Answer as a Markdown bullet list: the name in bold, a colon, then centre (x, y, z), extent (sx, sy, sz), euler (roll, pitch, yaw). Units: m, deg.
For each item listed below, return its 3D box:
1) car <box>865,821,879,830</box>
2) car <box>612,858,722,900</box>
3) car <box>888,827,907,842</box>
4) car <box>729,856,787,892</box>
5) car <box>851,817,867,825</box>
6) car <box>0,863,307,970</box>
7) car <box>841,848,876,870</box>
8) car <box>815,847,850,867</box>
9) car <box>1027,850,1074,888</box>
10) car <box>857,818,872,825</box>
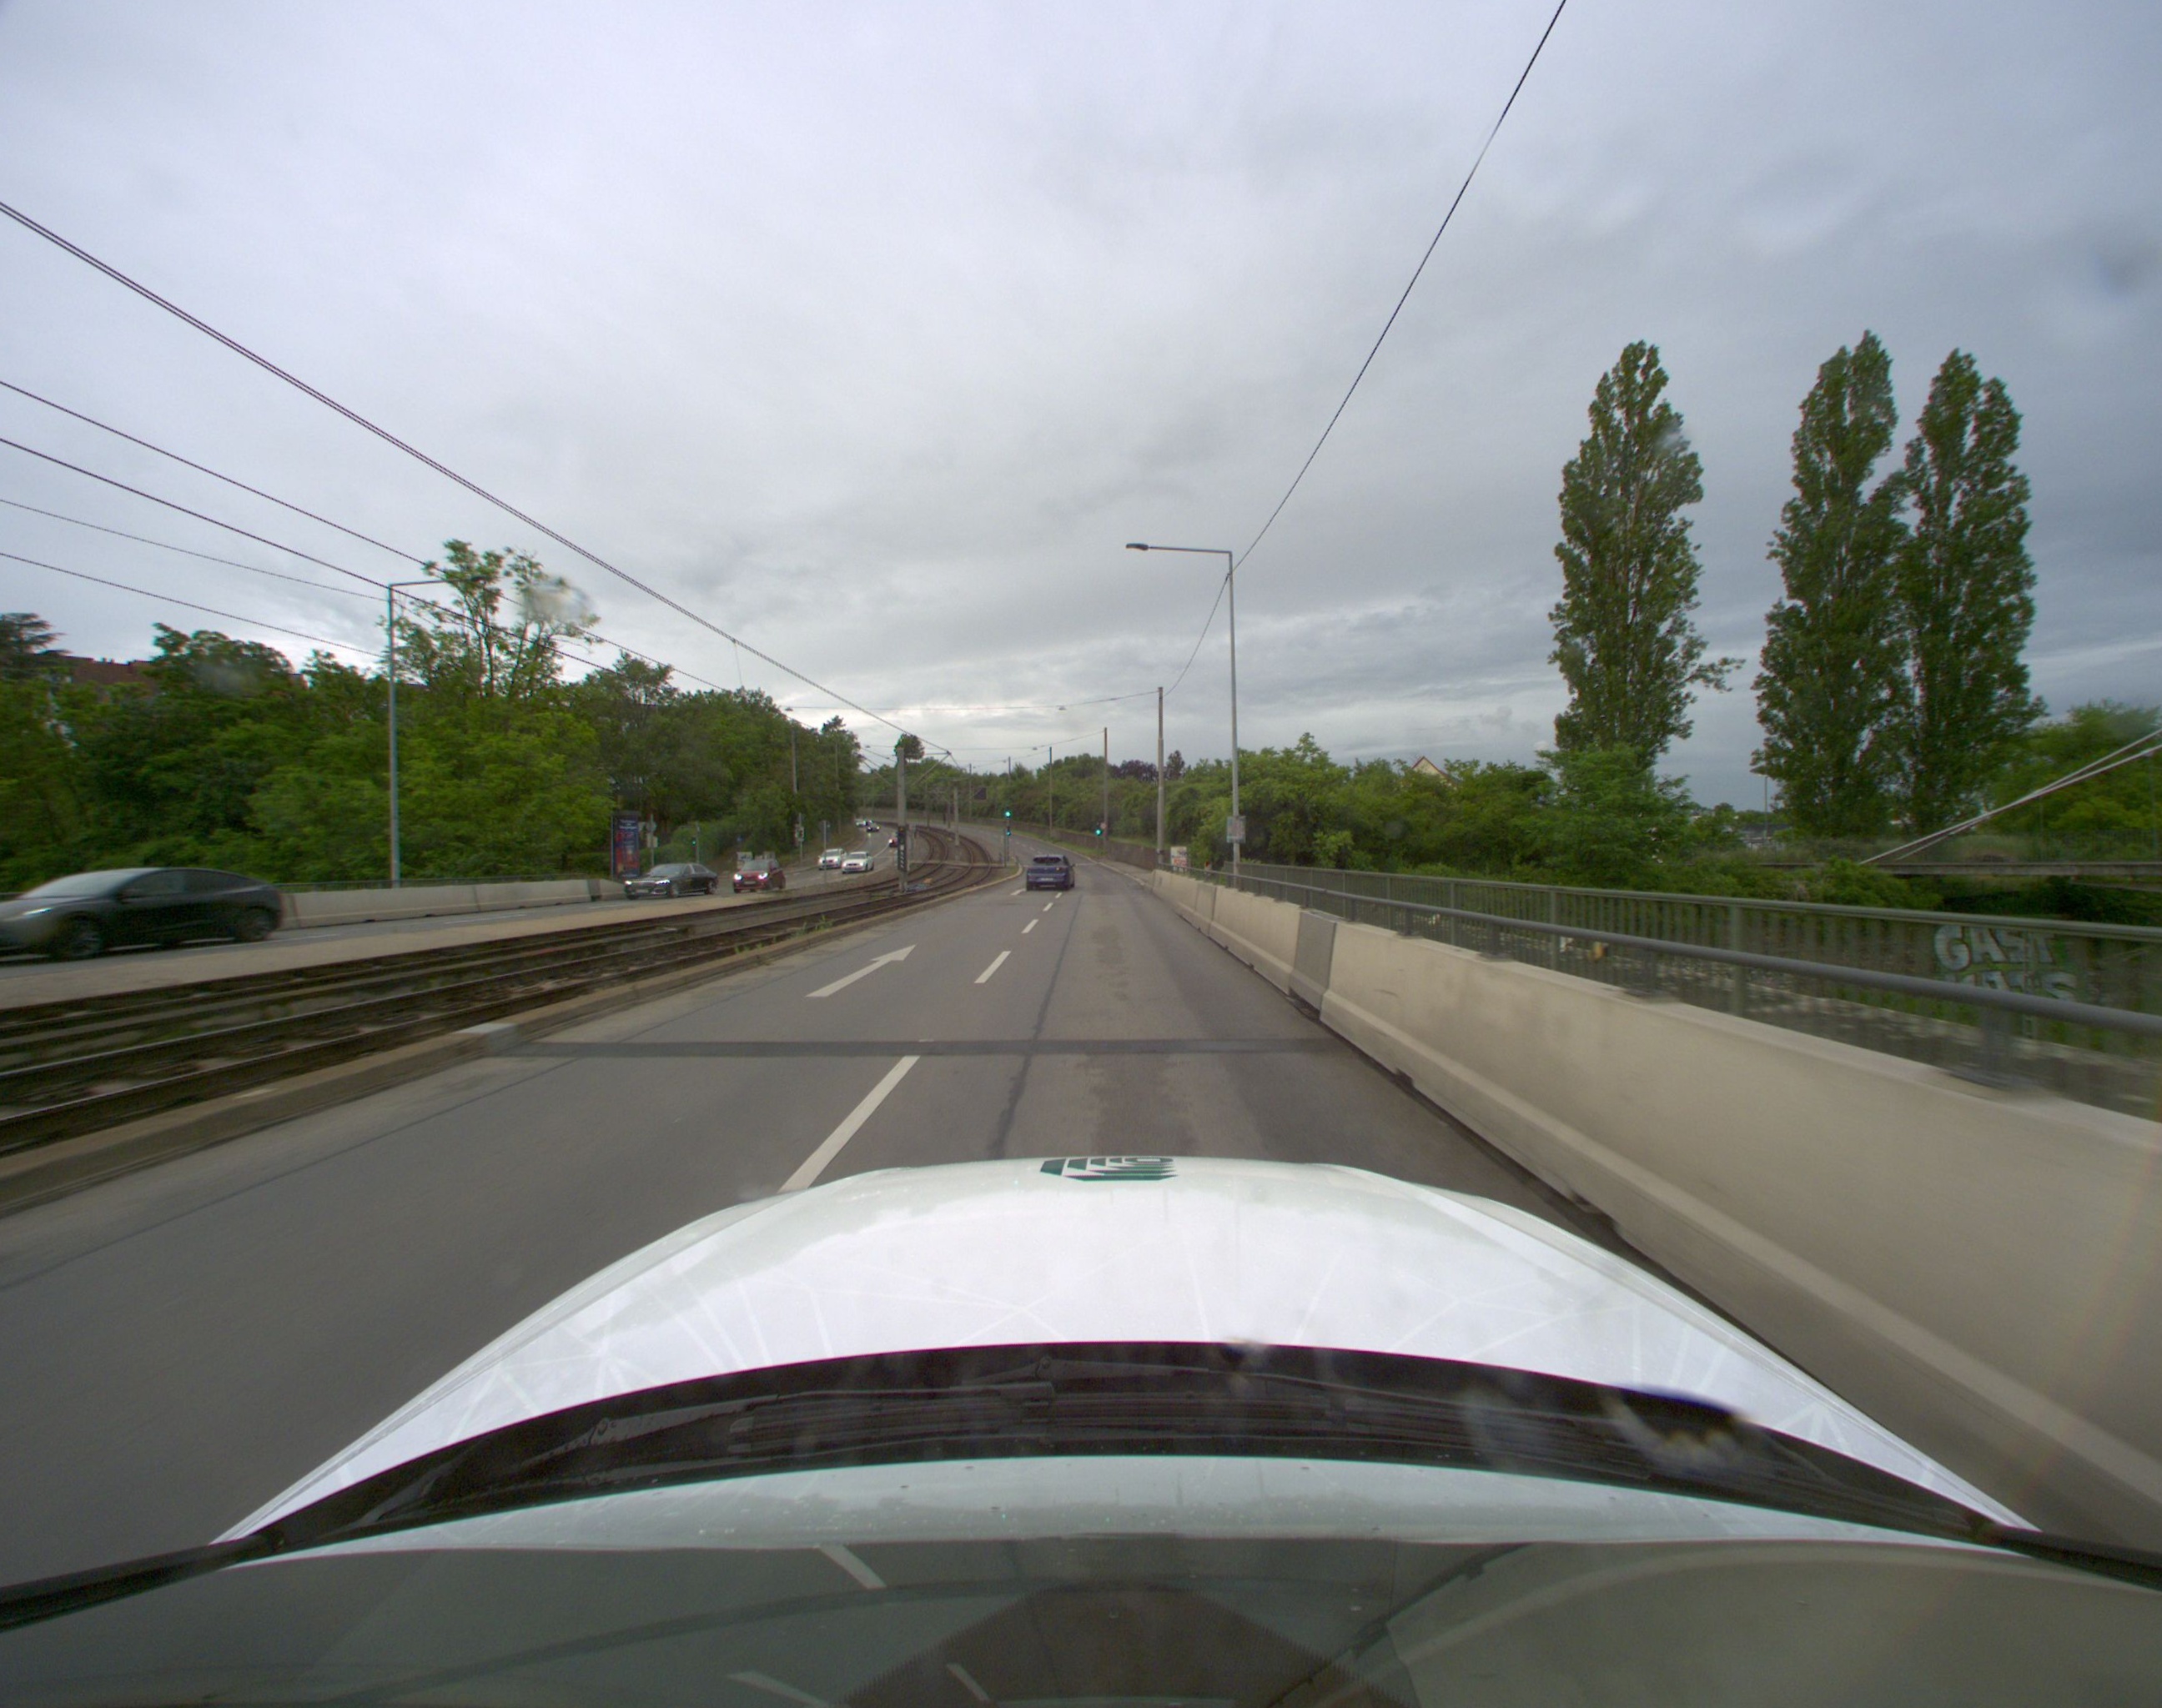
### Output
- **car**: centre (-34.930, -4.835, 136.040), extent (1.722, 1.458, 4.247), euler (-3, 3, -20)
- **car**: centre (-17.862, 1.037, 35.479), extent (1.962, 1.597, 5.185), euler (-2, -1, 1)
- **car**: centre (-21.290, -2.267, 94.691), extent (1.847, 1.597, 4.718), euler (-2, 3, -9)
- **car**: centre (-15.219, 0.899, 38.513), extent (1.597, 1.493, 3.015), euler (-2, 2, -2)
- **car**: centre (-42.529, -6.325, 155.842), extent (1.830, 1.379, 4.664), euler (-4, 5, -28)
- **car**: centre (-18.027, 1.066, 15.521), extent (1.889, 1.597, 4.734), euler (-2, 1, 1)
- **car**: centre (-16.146, 0.386, 59.255), extent (1.728, 1.437, 4.480), euler (-2, 0, -7)
- **car**: centre (-19.977, 0.260, 65.560), extent (1.819, 1.515, 4.519), euler (-1, 0, -6)
- **car**: centre (-1.227, 0.602, 34.180), extent (1.757, 1.501, 4.000), euler (0, 0, 0)
- **car**: centre (-43.511, -6.529, 163.647), extent (1.644, 1.384, 3.856), euler (-5, 4, -32)
